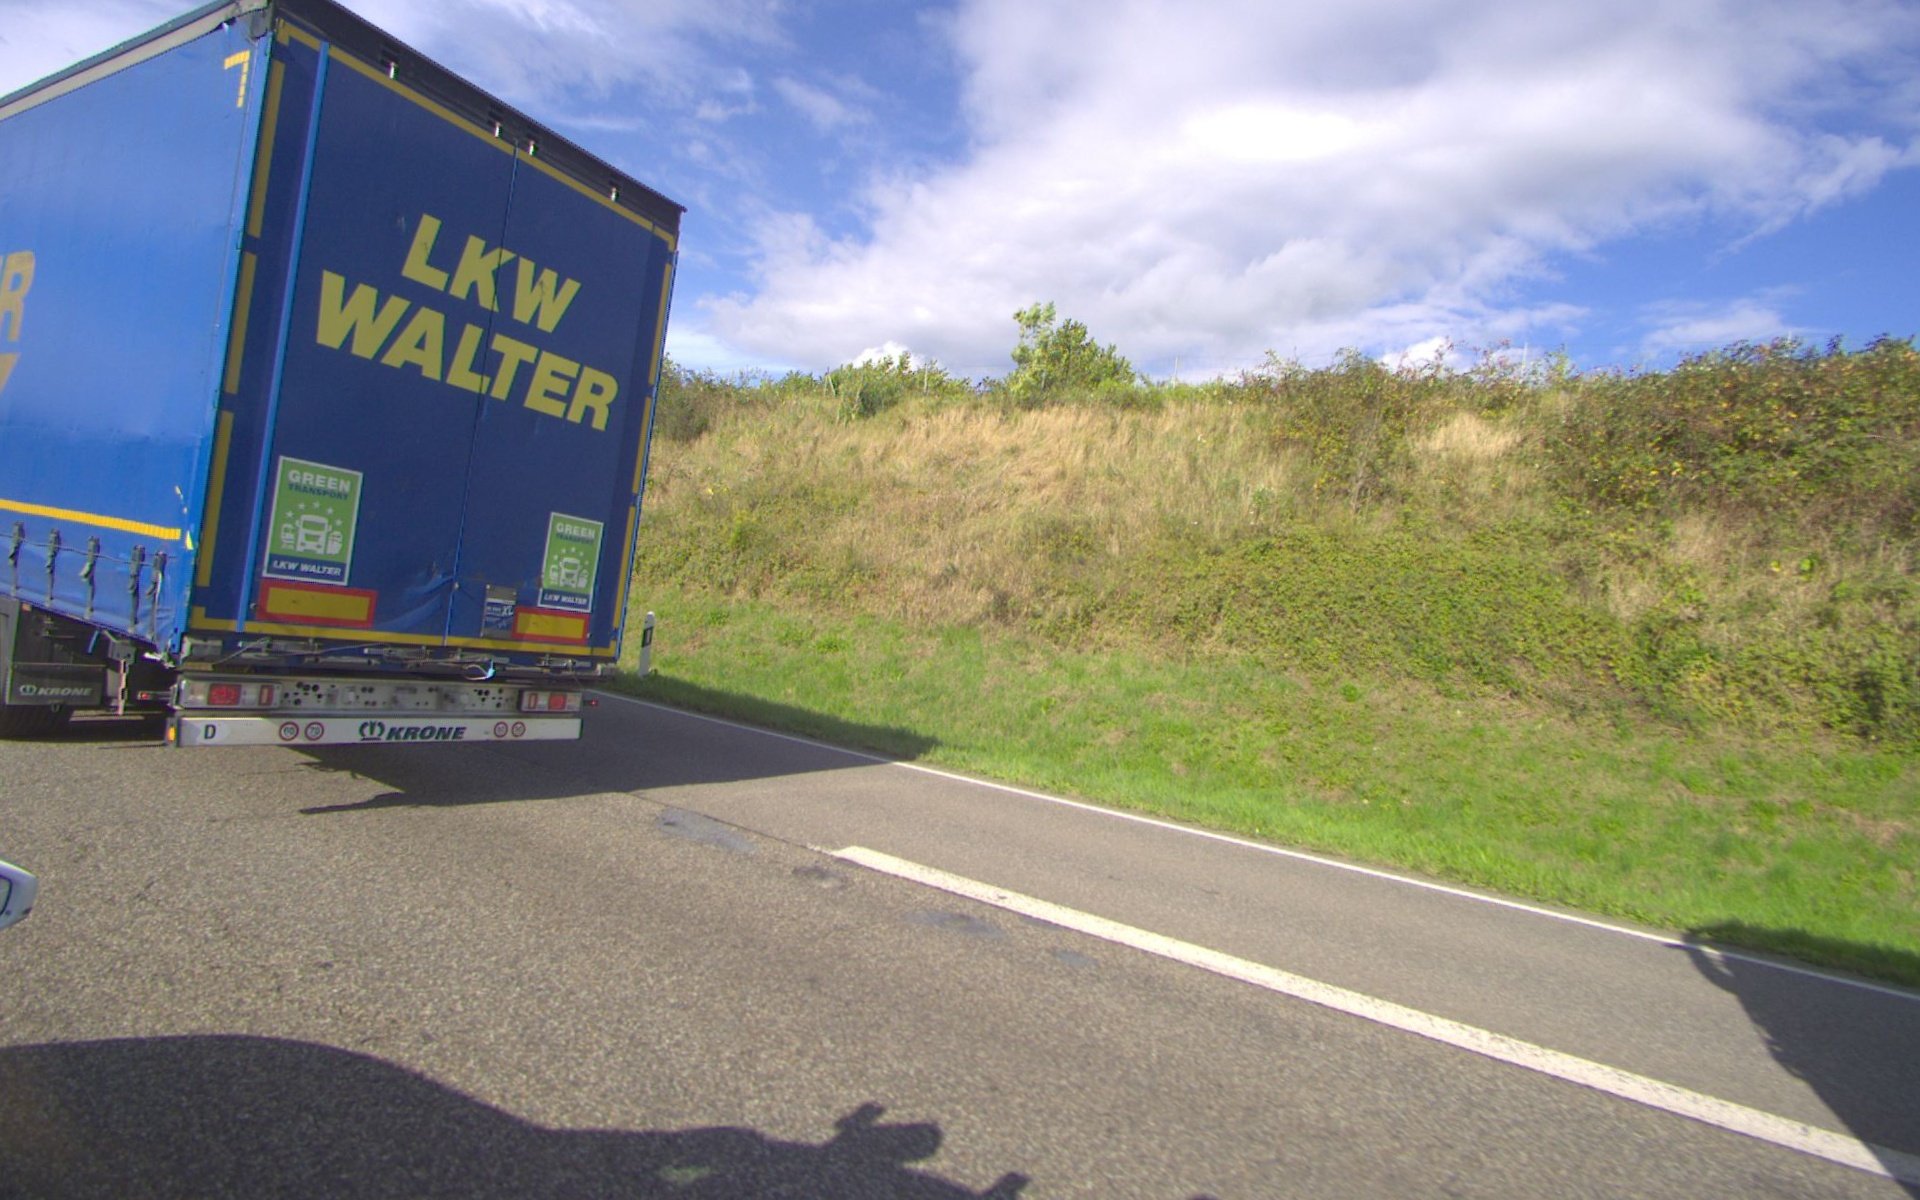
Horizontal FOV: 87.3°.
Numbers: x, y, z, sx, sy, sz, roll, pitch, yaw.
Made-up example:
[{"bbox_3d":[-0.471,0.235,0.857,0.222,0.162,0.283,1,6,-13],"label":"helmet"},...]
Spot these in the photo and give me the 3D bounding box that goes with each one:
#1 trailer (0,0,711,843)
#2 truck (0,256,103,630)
[{"bbox_3d":[-8.396,-1.505,9.145,13.748,4.145,2.647,6,-1,32],"label":"trailer"},{"bbox_3d":[-13.888,-2.128,12.559,6.384,4.137,2.653,6,-1,32],"label":"truck"}]
